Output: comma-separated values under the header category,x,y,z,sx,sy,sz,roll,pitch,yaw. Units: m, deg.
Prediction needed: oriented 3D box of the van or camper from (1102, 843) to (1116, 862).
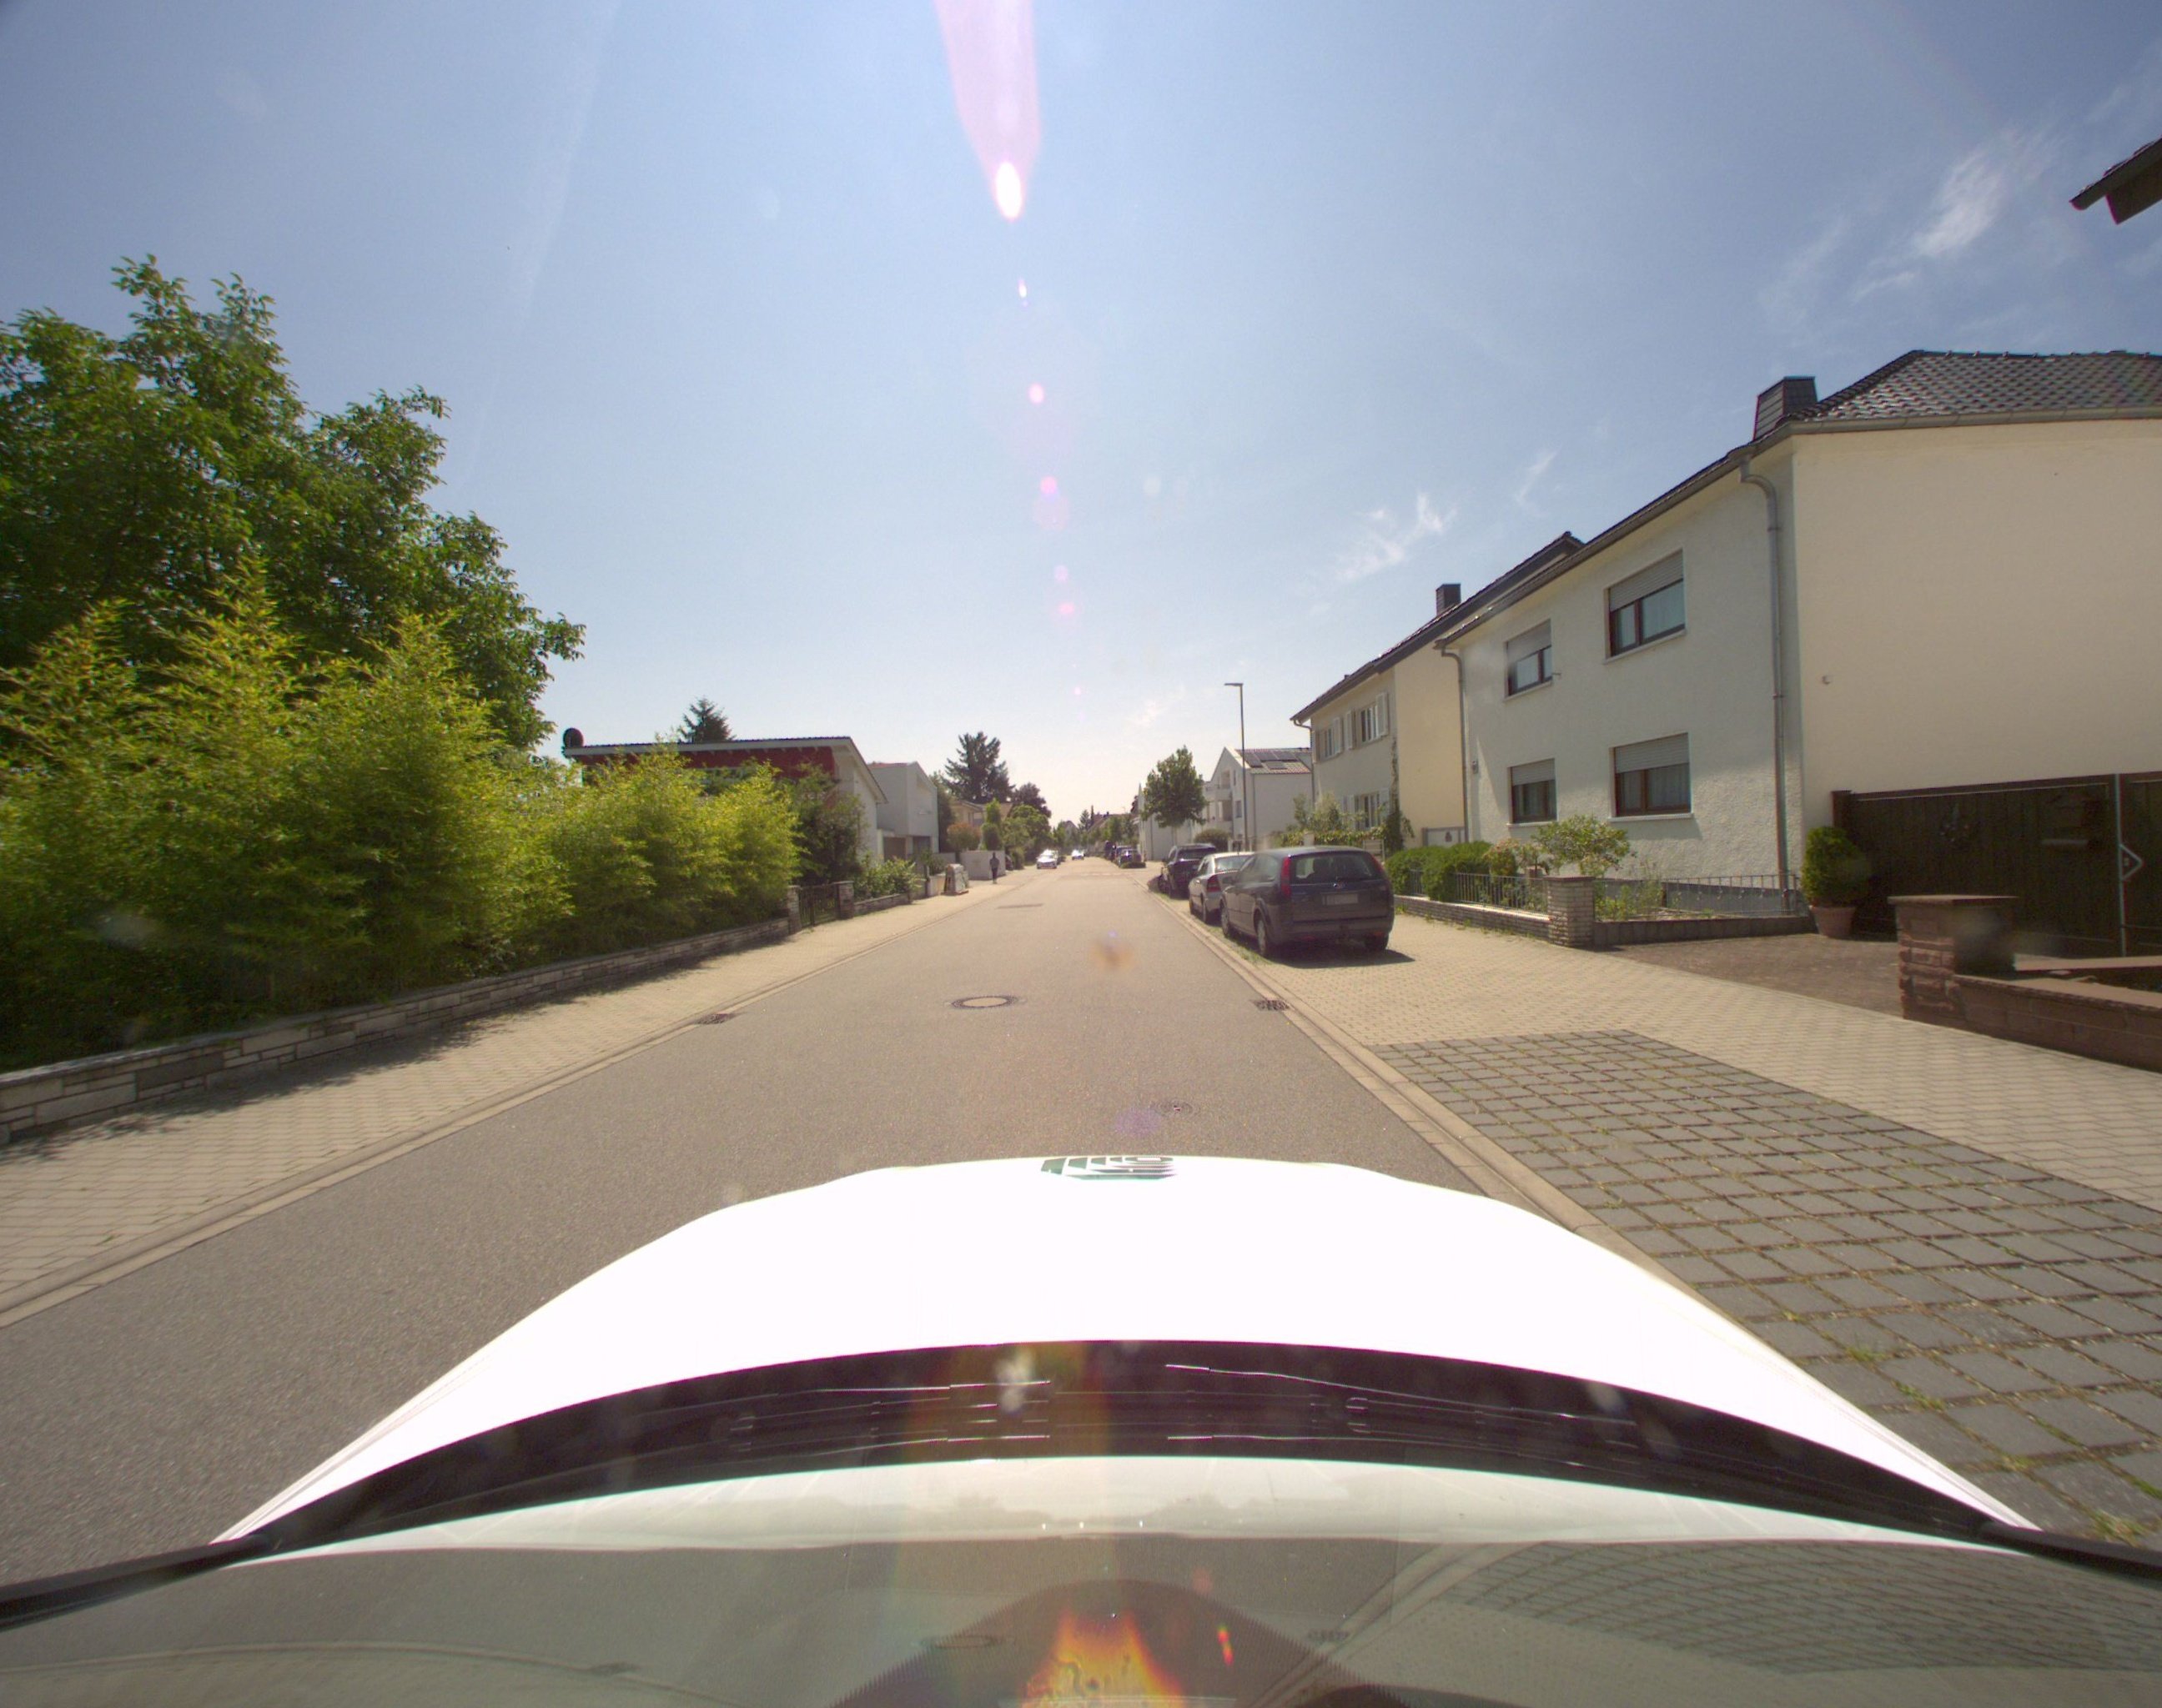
category,x,y,z,sx,sy,sz,roll,pitch,yaw
van or camper,4.352,-0.251,126.813,1.987,2.941,4.000,-2,0,0

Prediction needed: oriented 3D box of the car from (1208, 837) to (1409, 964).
category,x,y,z,sx,sy,sz,roll,pitch,yaw
car,3.249,0.586,12.582,1.736,1.533,4.447,-3,0,-1

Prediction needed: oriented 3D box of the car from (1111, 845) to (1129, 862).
category,x,y,z,sx,sy,sz,roll,pitch,yaw
car,4.871,-0.103,101.907,1.987,1.947,5.215,-4,0,1

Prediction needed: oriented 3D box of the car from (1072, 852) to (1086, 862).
category,x,y,z,sx,sy,sz,roll,pitch,yaw
car,-0.297,0.407,131.213,1.845,1.478,4.703,-3,0,2

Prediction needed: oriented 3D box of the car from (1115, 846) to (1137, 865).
category,x,y,z,sx,sy,sz,roll,pitch,yaw
car,4.807,0.169,87.552,2.091,1.882,4.844,-3,0,2

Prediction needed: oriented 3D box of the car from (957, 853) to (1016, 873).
category,x,y,z,sx,sy,sz,roll,pitch,yaw
car,-7.525,0.720,65.076,4.408,1.473,1.853,1,0,4

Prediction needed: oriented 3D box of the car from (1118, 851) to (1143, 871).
category,x,y,z,sx,sy,sz,roll,pitch,yaw
car,4.228,0.614,70.621,1.768,1.595,4.276,-2,0,-1

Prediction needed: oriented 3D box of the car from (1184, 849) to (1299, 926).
category,x,y,z,sx,sy,sz,roll,pitch,yaw
car,3.424,0.654,18.122,1.807,1.420,4.094,-3,0,2

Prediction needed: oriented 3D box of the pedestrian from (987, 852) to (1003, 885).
category,x,y,z,sx,sy,sz,roll,pitch,yaw
pedestrian,-4.767,0.798,45.300,0.712,1.747,0.961,-3,0,1

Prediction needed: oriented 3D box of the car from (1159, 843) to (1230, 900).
category,x,y,z,sx,sy,sz,roll,pitch,yaw
car,3.701,0.503,27.280,1.807,1.656,4.566,-3,1,2

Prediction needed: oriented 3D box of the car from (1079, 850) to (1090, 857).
category,x,y,z,sx,sy,sz,roll,pitch,yaw
car,0.696,-0.064,168.972,1.986,1.430,4.003,-3,0,2

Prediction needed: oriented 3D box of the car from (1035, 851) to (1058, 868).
category,x,y,z,sx,sy,sz,roll,pitch,yaw
car,-3.345,0.526,79.350,1.845,1.488,4.386,-3,0,1
